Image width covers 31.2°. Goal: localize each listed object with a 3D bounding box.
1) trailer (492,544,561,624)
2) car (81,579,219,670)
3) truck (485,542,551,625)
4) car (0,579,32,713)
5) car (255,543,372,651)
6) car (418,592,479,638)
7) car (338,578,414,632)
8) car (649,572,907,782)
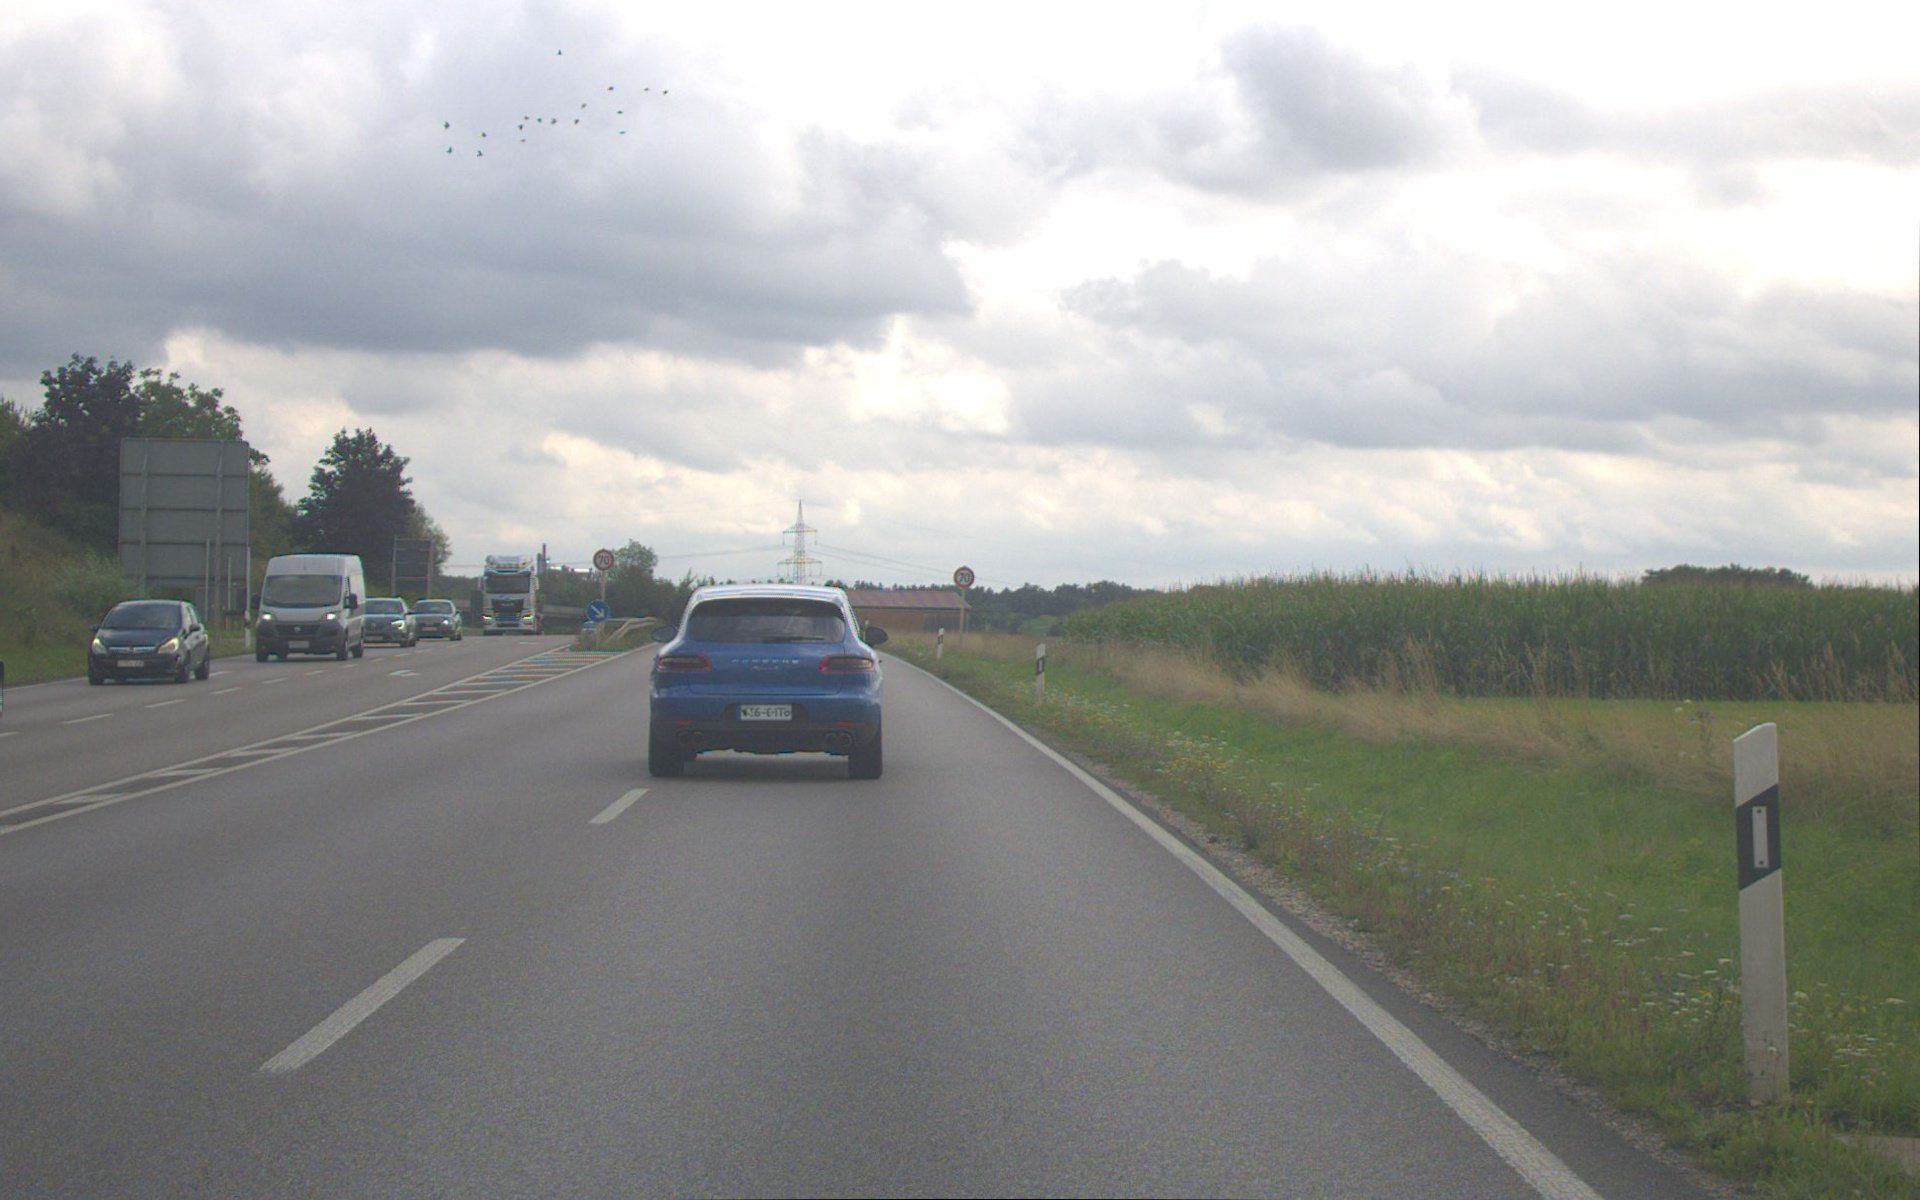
[{"bbox_3d":[-22.469,-0.889,178.709,2.774,3.933,12.987,2,1,-4],"label":"trailer"},{"bbox_3d":[-14.340,0.405,61.066,1.732,1.525,4.194,0,1,-4],"label":"car"},{"bbox_3d":[-21.944,-0.838,170.888,2.802,3.983,5.287,2,0,-4],"label":"truck"},{"bbox_3d":[-12.582,0.585,41.206,1.794,1.628,4.516,-1,1,-2],"label":"car"},{"bbox_3d":[-15.139,-0.095,80.762,2.033,2.431,5.636,0,1,-4],"label":"car"},{"bbox_3d":[-17.441,0.497,117.427,1.732,1.525,4.194,0,1,-4],"label":"car"},{"bbox_3d":[-16.888,0.128,99.543,1.732,1.525,4.549,0,1,-4],"label":"car"},{"bbox_3d":[-1.605,0.617,29.597,2.033,1.655,4.544,1,0,-4],"label":"car"}]
